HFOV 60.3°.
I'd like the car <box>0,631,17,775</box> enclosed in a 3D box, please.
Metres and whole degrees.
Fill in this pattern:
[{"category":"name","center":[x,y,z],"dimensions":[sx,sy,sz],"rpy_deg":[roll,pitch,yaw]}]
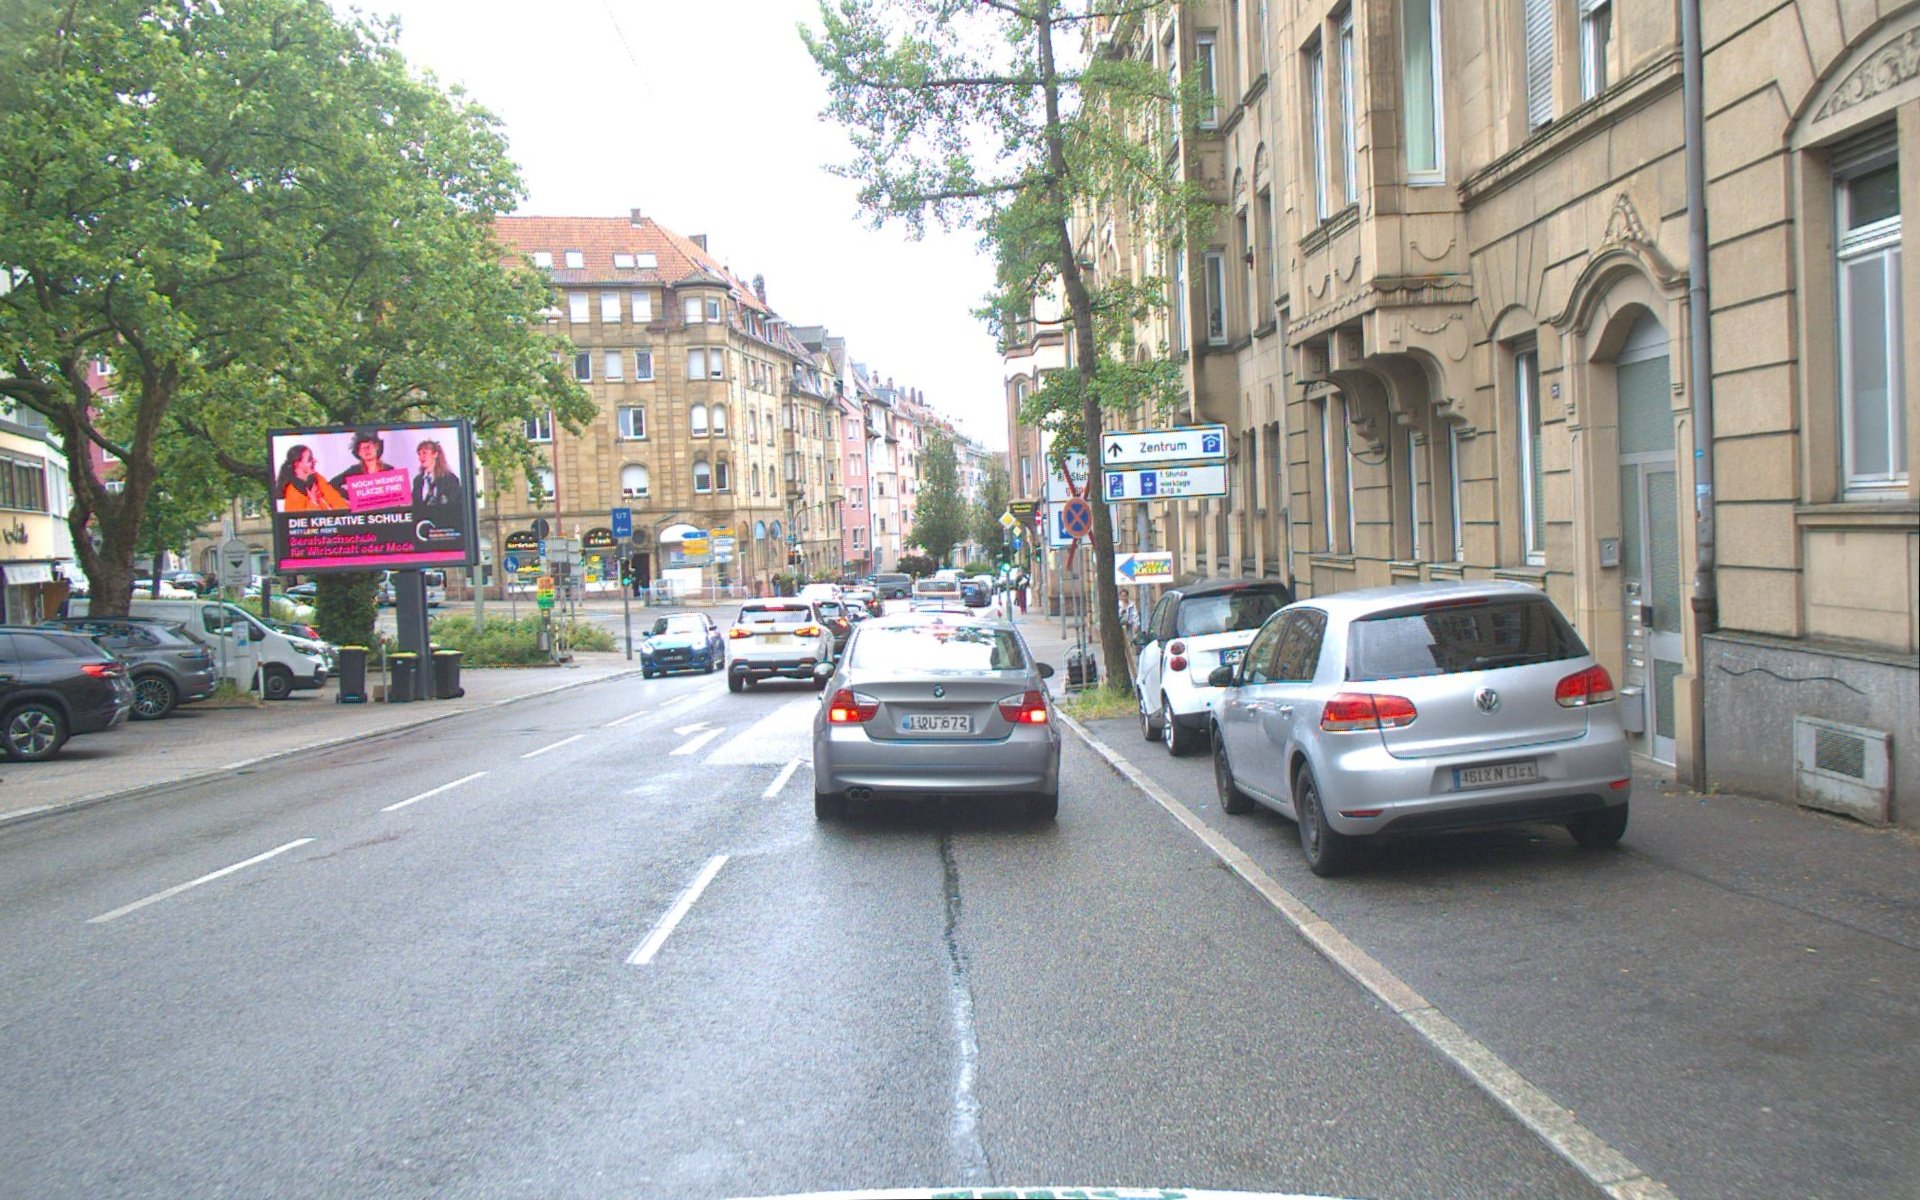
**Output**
[{"category":"car","center":[-12.819,1.250,17.866],"dimensions":[4.298,1.601,1.929],"rpy_deg":[-3,0,-24]}]

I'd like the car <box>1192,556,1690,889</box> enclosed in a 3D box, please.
[{"category":"car","center":[2.682,0.606,10.243],"dimensions":[1.725,1.476,3.999],"rpy_deg":[-6,0,-1]}]

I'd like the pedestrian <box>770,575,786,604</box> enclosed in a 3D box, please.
[{"category":"pedestrian","center":[-10.407,-0.597,94.609],"dimensions":[0.716,1.605,0.528],"rpy_deg":[-2,0,8]}]

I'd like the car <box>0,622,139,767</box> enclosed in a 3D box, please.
[{"category":"car","center":[-12.737,1.231,20.602],"dimensions":[4.307,1.701,1.842],"rpy_deg":[-3,0,-24]}]

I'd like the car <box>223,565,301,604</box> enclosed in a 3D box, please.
[{"category":"car","center":[-40.339,-0.925,95.570],"dimensions":[4.196,2.138,1.998],"rpy_deg":[1,2,28]}]

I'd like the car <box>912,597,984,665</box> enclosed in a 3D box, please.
[{"category":"car","center":[-0.343,0.752,42.422],"dimensions":[1.724,1.594,3.999],"rpy_deg":[-1,0,-2]}]

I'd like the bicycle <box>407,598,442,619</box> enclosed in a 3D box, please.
[{"category":"bicycle","center":[-23.000,0.351,71.059],"dimensions":[0.562,0.873,1.521],"rpy_deg":[1,-1,23]}]

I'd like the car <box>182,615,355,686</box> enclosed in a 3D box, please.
[{"category":"car","center":[-18.030,1.288,43.199],"dimensions":[4.069,1.682,1.756],"rpy_deg":[-1,0,-24]}]

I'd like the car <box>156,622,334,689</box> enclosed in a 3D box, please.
[{"category":"car","center":[-17.530,1.345,40.748],"dimensions":[3.916,1.476,1.757],"rpy_deg":[-1,0,-22]}]

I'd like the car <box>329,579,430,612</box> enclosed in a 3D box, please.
[{"category":"car","center":[-30.186,-0.216,86.060],"dimensions":[4.541,1.606,2.001],"rpy_deg":[1,-1,6]}]

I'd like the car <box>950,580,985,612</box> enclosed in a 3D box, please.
[{"category":"car","center":[0.424,-0.178,84.823],"dimensions":[1.689,1.580,4.000],"rpy_deg":[1,-1,1]}]

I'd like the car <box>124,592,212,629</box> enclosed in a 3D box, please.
[{"category":"car","center":[-41.062,0.537,85.762],"dimensions":[4.155,1.756,1.998],"rpy_deg":[0,2,29]}]

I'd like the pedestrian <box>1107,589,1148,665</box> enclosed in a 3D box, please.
[{"category":"pedestrian","center":[3.518,0.560,34.793],"dimensions":[0.618,1.534,0.693],"rpy_deg":[-6,0,-2]}]

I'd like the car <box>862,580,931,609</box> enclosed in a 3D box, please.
[{"category":"car","center":[-4.737,-0.408,124.020],"dimensions":[5.072,2.049,2.698],"rpy_deg":[1,-1,-1]}]

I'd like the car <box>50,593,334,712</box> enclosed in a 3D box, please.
[{"category":"car","center":[-15.237,1.005,33.166],"dimensions":[4.989,2.142,1.979],"rpy_deg":[-1,0,-22]}]

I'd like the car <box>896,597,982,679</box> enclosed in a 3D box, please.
[{"category":"car","center":[-0.365,0.693,32.277],"dimensions":[1.562,1.490,4.000],"rpy_deg":[1,0,0]}]

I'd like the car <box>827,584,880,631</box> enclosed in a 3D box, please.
[{"category":"car","center":[-4.077,0.280,63.643],"dimensions":[1.723,1.737,4.000],"rpy_deg":[-1,0,0]}]

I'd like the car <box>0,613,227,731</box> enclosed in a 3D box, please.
[{"category":"car","center":[-14.813,1.198,27.943],"dimensions":[4.295,1.815,1.927],"rpy_deg":[-1,0,-22]}]

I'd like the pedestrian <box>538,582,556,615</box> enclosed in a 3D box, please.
[{"category":"pedestrian","center":[-20.521,-0.059,82.108],"dimensions":[0.525,1.605,0.720],"rpy_deg":[-2,0,16]}]

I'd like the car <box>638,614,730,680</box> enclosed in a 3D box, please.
[{"category":"car","center":[-6.771,1.119,40.950],"dimensions":[1.680,1.476,3.741],"rpy_deg":[-2,0,-1]}]

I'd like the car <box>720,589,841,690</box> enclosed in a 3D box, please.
[{"category":"car","center":[-3.266,0.673,30.810],"dimensions":[1.830,1.654,3.999],"rpy_deg":[-3,1,-1]}]

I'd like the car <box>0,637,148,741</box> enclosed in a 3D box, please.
[{"category":"car","center":[-14.470,1.354,24.998],"dimensions":[3.873,1.455,1.733],"rpy_deg":[-1,0,-26]}]

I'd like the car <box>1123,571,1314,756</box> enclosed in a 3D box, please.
[{"category":"car","center":[2.524,0.584,16.688],"dimensions":[1.273,1.569,2.975],"rpy_deg":[-6,0,-1]}]

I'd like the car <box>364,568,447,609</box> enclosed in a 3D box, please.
[{"category":"car","center":[-30.197,-0.656,90.067],"dimensions":[4.196,2.138,1.998],"rpy_deg":[1,2,28]}]

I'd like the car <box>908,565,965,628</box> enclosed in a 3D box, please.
[{"category":"car","center":[-0.843,-0.100,58.878],"dimensions":[1.953,2.143,3.999],"rpy_deg":[0,0,-1]}]

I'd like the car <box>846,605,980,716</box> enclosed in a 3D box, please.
[{"category":"car","center":[-0.593,0.790,23.506],"dimensions":[1.723,1.407,4.000],"rpy_deg":[-1,0,0]}]

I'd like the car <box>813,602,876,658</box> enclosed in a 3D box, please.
[{"category":"car","center":[-3.727,0.947,53.941],"dimensions":[1.723,1.737,4.000],"rpy_deg":[-1,0,0]}]

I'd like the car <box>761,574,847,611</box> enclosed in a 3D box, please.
[{"category":"car","center":[-7.121,-0.327,75.804],"dimensions":[1.957,1.606,3.990],"rpy_deg":[0,-1,31]}]

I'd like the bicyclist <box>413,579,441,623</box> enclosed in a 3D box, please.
[{"category":"bicyclist","center":[-22.949,0.030,71.240],"dimensions":[0.767,1.852,0.770],"rpy_deg":[-3,0,25]}]

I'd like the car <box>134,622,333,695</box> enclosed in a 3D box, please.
[{"category":"car","center":[-16.702,1.321,38.246],"dimensions":[4.112,1.481,1.782],"rpy_deg":[-1,0,-22]}]

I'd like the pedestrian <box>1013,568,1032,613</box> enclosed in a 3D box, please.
[{"category":"pedestrian","center":[2.732,-0.426,72.010],"dimensions":[0.727,1.943,0.659],"rpy_deg":[-2,0,-2]}]

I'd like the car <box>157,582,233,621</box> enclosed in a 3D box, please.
[{"category":"car","center":[-45.267,0.057,97.849],"dimensions":[4.196,2.138,1.998],"rpy_deg":[1,2,28]}]

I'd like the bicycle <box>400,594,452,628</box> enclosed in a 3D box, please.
[{"category":"bicycle","center":[-22.968,0.464,71.190],"dimensions":[0.658,1.343,2.273],"rpy_deg":[-3,0,27]}]

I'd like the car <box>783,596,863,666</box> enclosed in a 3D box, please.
[{"category":"car","center":[-3.585,0.786,43.874],"dimensions":[1.723,1.737,4.000],"rpy_deg":[-1,0,0]}]

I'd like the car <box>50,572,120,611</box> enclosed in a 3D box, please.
[{"category":"car","center":[-47.358,-0.458,89.509],"dimensions":[3.913,2.049,1.573],"rpy_deg":[-1,0,31]}]

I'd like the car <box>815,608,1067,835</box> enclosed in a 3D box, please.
[{"category":"car","center":[-0.109,0.783,12.363],"dimensions":[1.590,1.407,3.615],"rpy_deg":[-1,0,0]}]

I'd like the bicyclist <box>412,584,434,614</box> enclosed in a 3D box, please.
[{"category":"bicyclist","center":[-23.032,-0.037,70.967],"dimensions":[0.557,1.295,0.689],"rpy_deg":[0,-1,23]}]
